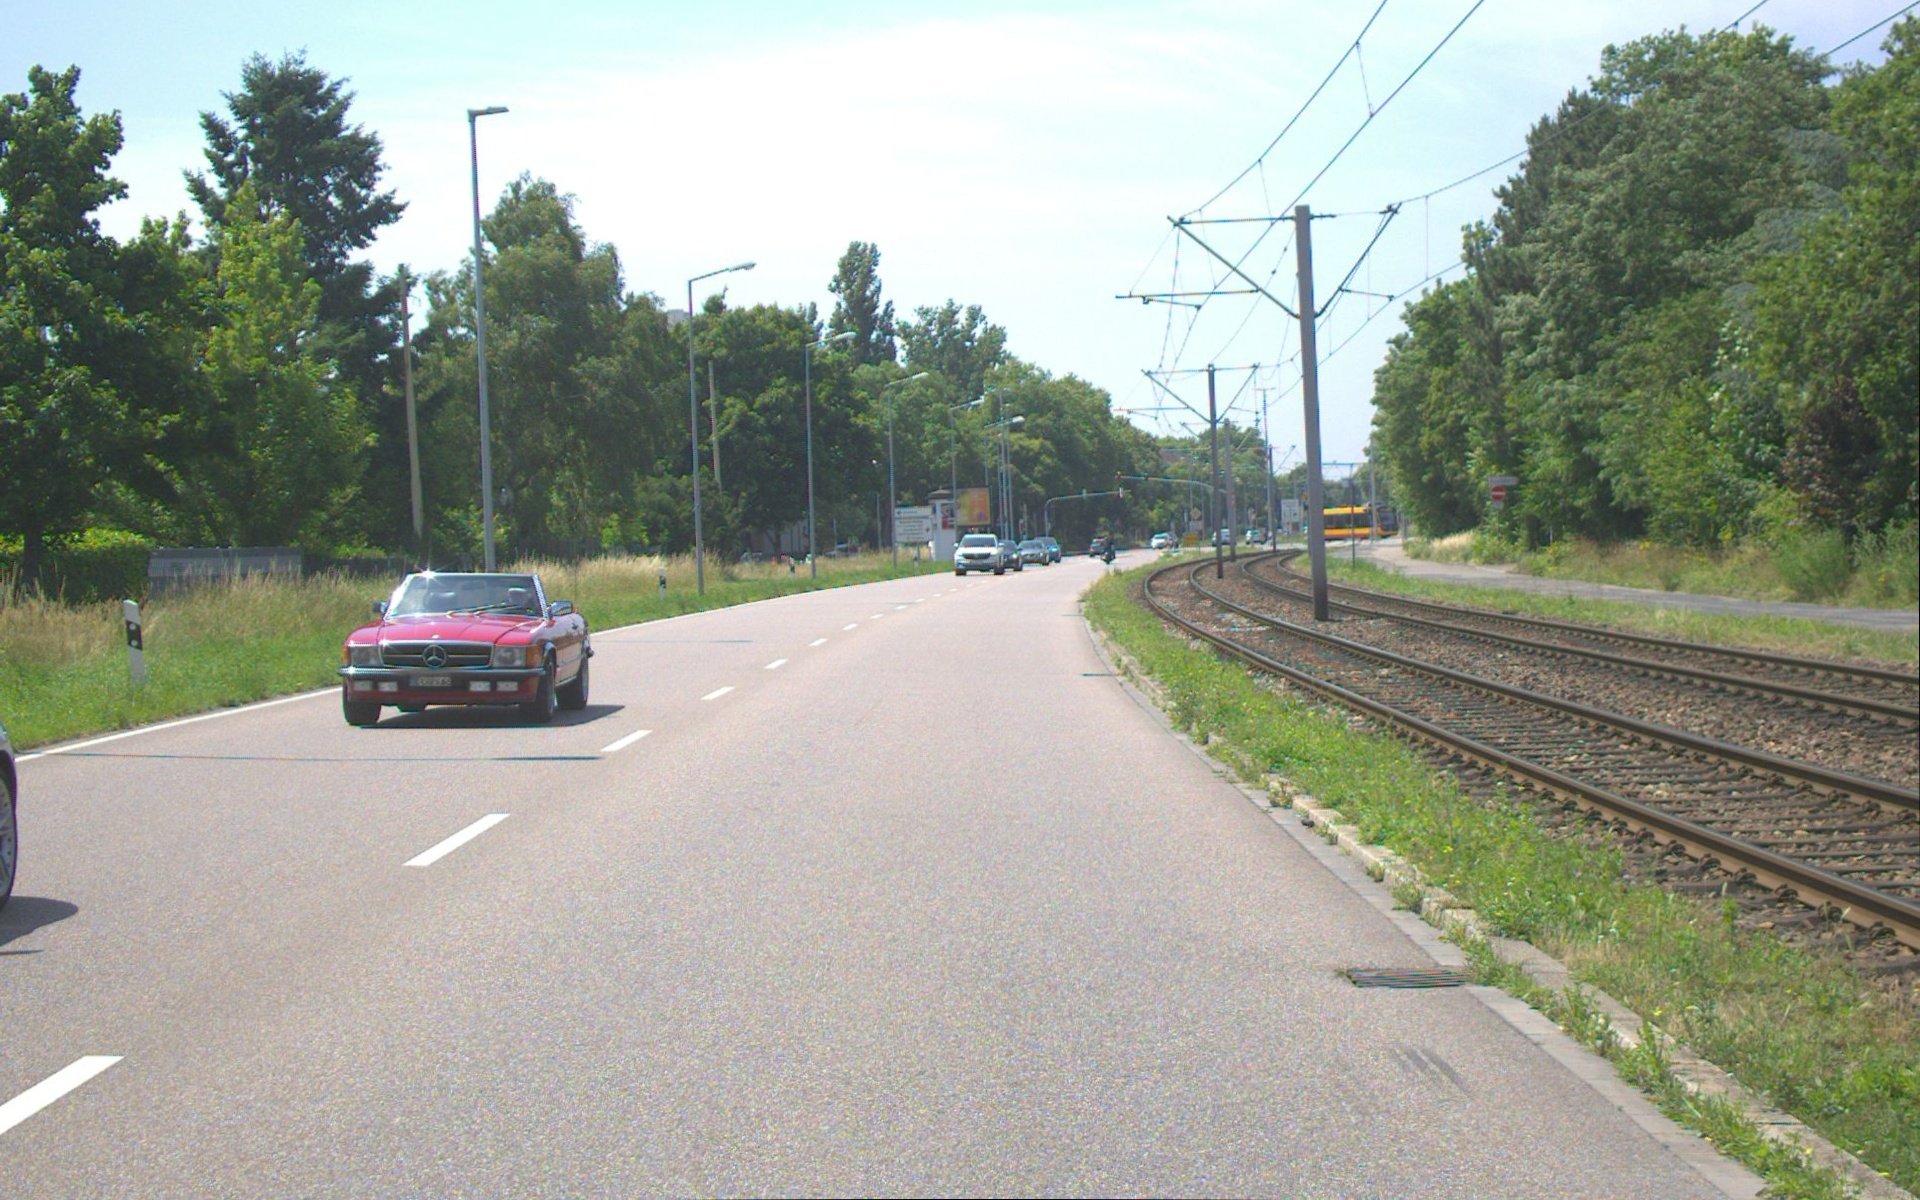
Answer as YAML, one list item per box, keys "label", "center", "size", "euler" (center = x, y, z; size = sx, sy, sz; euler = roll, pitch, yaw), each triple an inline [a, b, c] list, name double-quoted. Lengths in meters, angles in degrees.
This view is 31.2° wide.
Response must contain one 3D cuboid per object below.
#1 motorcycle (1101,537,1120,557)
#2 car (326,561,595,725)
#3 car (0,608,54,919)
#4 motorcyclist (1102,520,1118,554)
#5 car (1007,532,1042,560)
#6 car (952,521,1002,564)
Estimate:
- label: "motorcycle"
  center: [8.491, -2.987, 193.679]
  size: [0.970, 1.113, 2.732]
  euler: [-1, 1, 4]
- label: "car"
  center: [-4.332, 0.328, 30.375]
  size: [1.749, 1.296, 4.253]
  euler: [-1, 1, 0]
- label: "car"
  center: [-4.723, 0.701, 12.764]
  size: [1.682, 1.245, 3.909]
  euler: [-1, 1, 0]
- label: "motorcyclist"
  center: [8.452, -3.548, 193.738]
  size: [0.891, 1.898, 1.015]
  euler: [-1, 1, 4]
- label: "car"
  center: [3.576, -2.944, 189.006]
  size: [1.817, 1.488, 4.363]
  euler: [-1, 1, 2]
- label: "car"
  center: [0.749, -2.462, 146.984]
  size: [1.935, 1.790, 4.711]
  euler: [-1, 1, 2]
